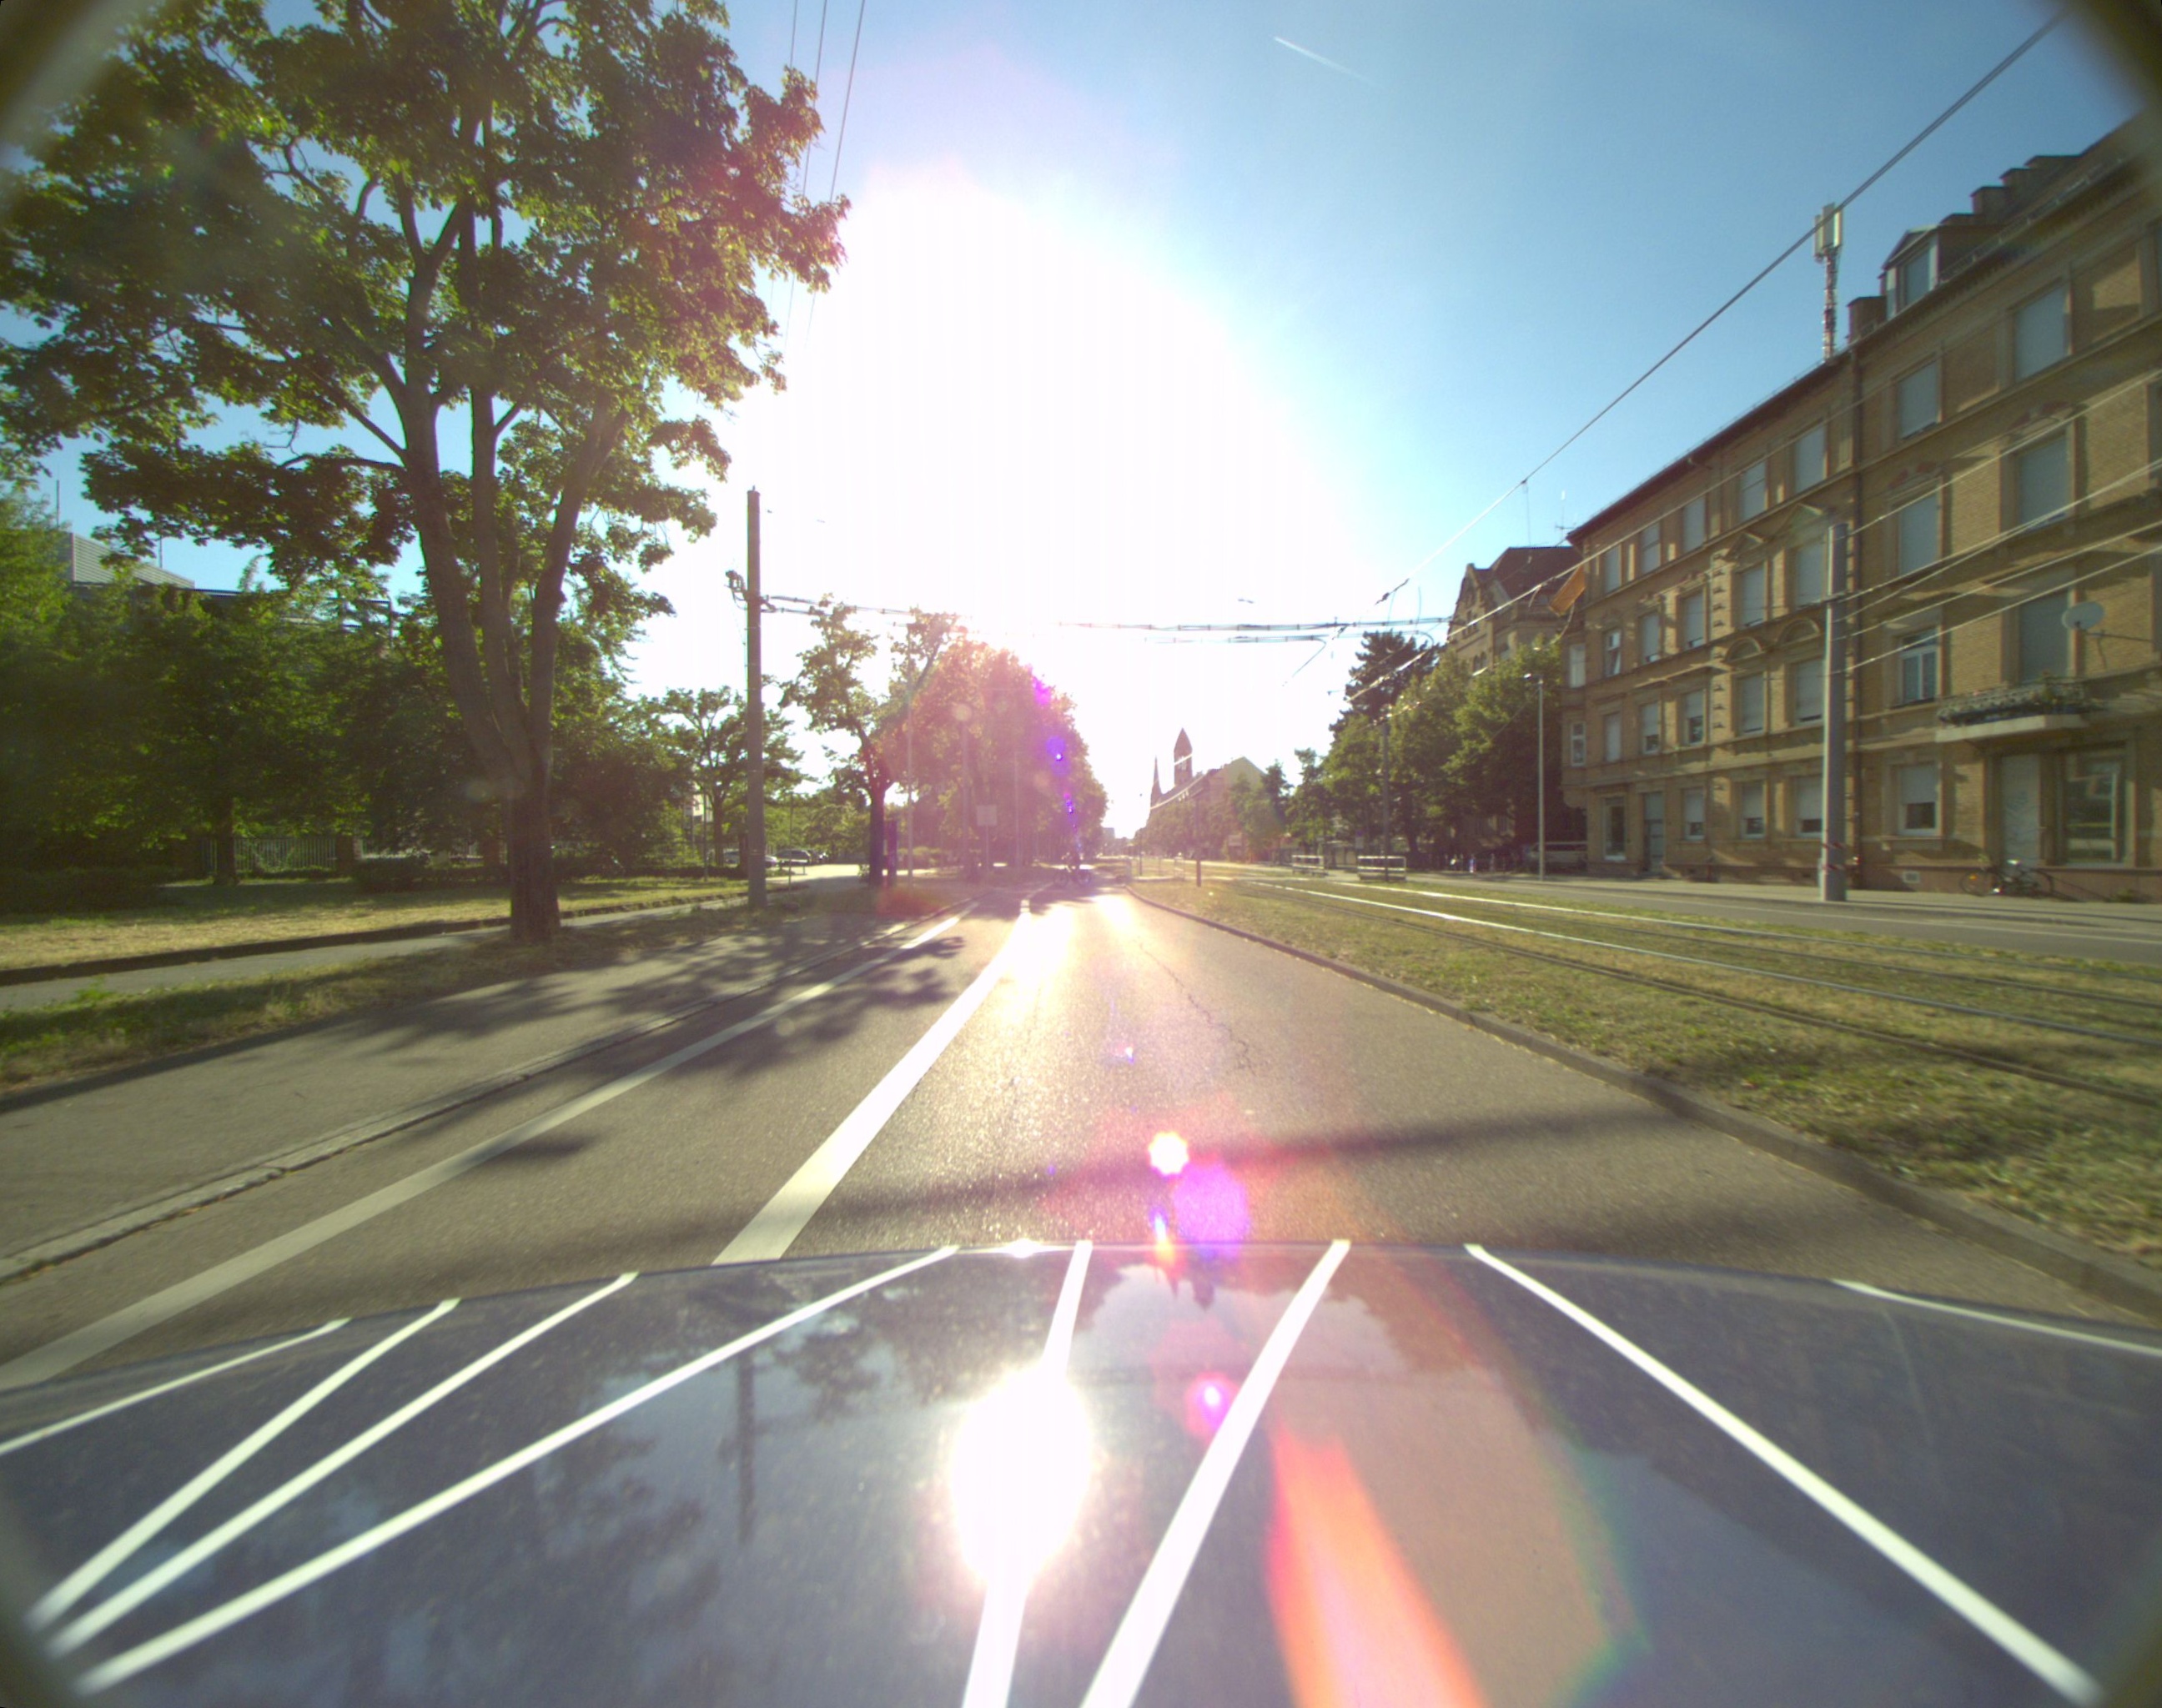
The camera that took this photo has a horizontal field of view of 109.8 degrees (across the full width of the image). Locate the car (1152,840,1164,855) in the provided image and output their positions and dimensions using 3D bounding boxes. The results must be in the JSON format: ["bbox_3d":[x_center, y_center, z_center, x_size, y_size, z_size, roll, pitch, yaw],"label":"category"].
[{"bbox_3d":[14.369,-1.156,141.684,1.798,2.766,4.000,0,1,1],"label":"car"}]

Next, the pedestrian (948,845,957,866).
[{"bbox_3d":[-11.288,0.092,66.750,0.645,1.830,0.565,0,1,0],"label":"pedestrian"}]

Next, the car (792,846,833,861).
[{"bbox_3d":[-30.479,-0.088,86.244,4.393,1.616,1.797,0,1,-21],"label":"car"}]

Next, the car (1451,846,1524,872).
[{"bbox_3d":[26.419,0.302,49.527,3.991,1.502,1.802,-2,1,23],"label":"car"}]

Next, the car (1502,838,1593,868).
[{"bbox_3d":[31.186,-0.076,50.981,5.058,1.814,2.026,-1,2,26],"label":"car"}]

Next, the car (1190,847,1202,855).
[{"bbox_3d":[22.980,-0.570,152.402,1.799,1.501,3.999,0,0,0],"label":"car"}]

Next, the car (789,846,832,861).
[{"bbox_3d":[-29.742,-0.072,83.453,4.393,1.616,1.797,0,1,-21],"label":"car"}]

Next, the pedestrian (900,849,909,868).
[{"bbox_3d":[-13.239,0.330,56.947,0.550,1.434,0.513,0,1,-1],"label":"pedestrian"}]

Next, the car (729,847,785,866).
[{"bbox_3d":[-26.820,0.209,63.025,4.153,1.501,1.797,0,1,-17],"label":"car"}]

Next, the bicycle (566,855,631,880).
[{"bbox_3d":[-20.773,0.564,32.739,2.291,1.050,0.618,0,1,-14],"label":"bicycle"}]

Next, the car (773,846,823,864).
[{"bbox_3d":[-26.809,0.065,72.045,4.393,1.616,1.797,0,1,-21],"label":"car"}]

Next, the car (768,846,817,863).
[{"bbox_3d":[-28.299,0.036,74.666,4.393,1.616,1.797,0,1,-21],"label":"car"}]

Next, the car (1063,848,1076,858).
[{"bbox_3d":[-1.838,-0.220,120.679,1.798,1.501,4.000,-3,0,1],"label":"car"}]

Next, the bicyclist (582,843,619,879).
[{"bbox_3d":[-20.708,0.320,32.749,1.207,1.531,0.618,0,1,-14],"label":"bicyclist"}]

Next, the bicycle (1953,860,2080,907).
[{"bbox_3d":[22.513,0.692,18.352,0.591,0.998,2.010,-3,1,-1],"label":"bicycle"}]

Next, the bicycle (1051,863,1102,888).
[{"bbox_3d":[-0.199,0.926,33.226,2.065,0.973,0.720,-3,1,-26],"label":"bicycle"}]

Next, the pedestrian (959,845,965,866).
[{"bbox_3d":[-10.445,0.096,66.644,0.502,1.830,0.565,0,1,0],"label":"pedestrian"}]

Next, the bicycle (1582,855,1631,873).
[{"bbox_3d":[27.915,0.523,40.404,0.712,0.904,2.079,-3,1,-21],"label":"bicycle"}]

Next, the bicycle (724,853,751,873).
[{"bbox_3d":[-23.968,0.600,53.077,0.746,1.382,2.637,0,0,0],"label":"bicycle"}]

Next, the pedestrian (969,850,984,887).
[{"bbox_3d":[-4.646,0.646,33.841,0.532,1.653,0.486,1,0,-21],"label":"pedestrian"}]

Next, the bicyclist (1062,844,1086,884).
[{"bbox_3d":[-0.300,0.437,33.235,0.747,1.704,0.720,-3,1,-26],"label":"bicyclist"}]

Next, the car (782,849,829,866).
[{"bbox_3d":[-28.092,0.336,77.520,4.393,1.616,1.797,0,1,-21],"label":"car"}]

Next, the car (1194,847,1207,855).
[{"bbox_3d":[22.369,-0.523,141.821,1.799,1.501,3.999,0,0,0],"label":"car"}]

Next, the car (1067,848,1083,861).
[{"bbox_3d":[-0.751,0.043,98.667,1.798,1.501,4.000,-3,0,1],"label":"car"}]
